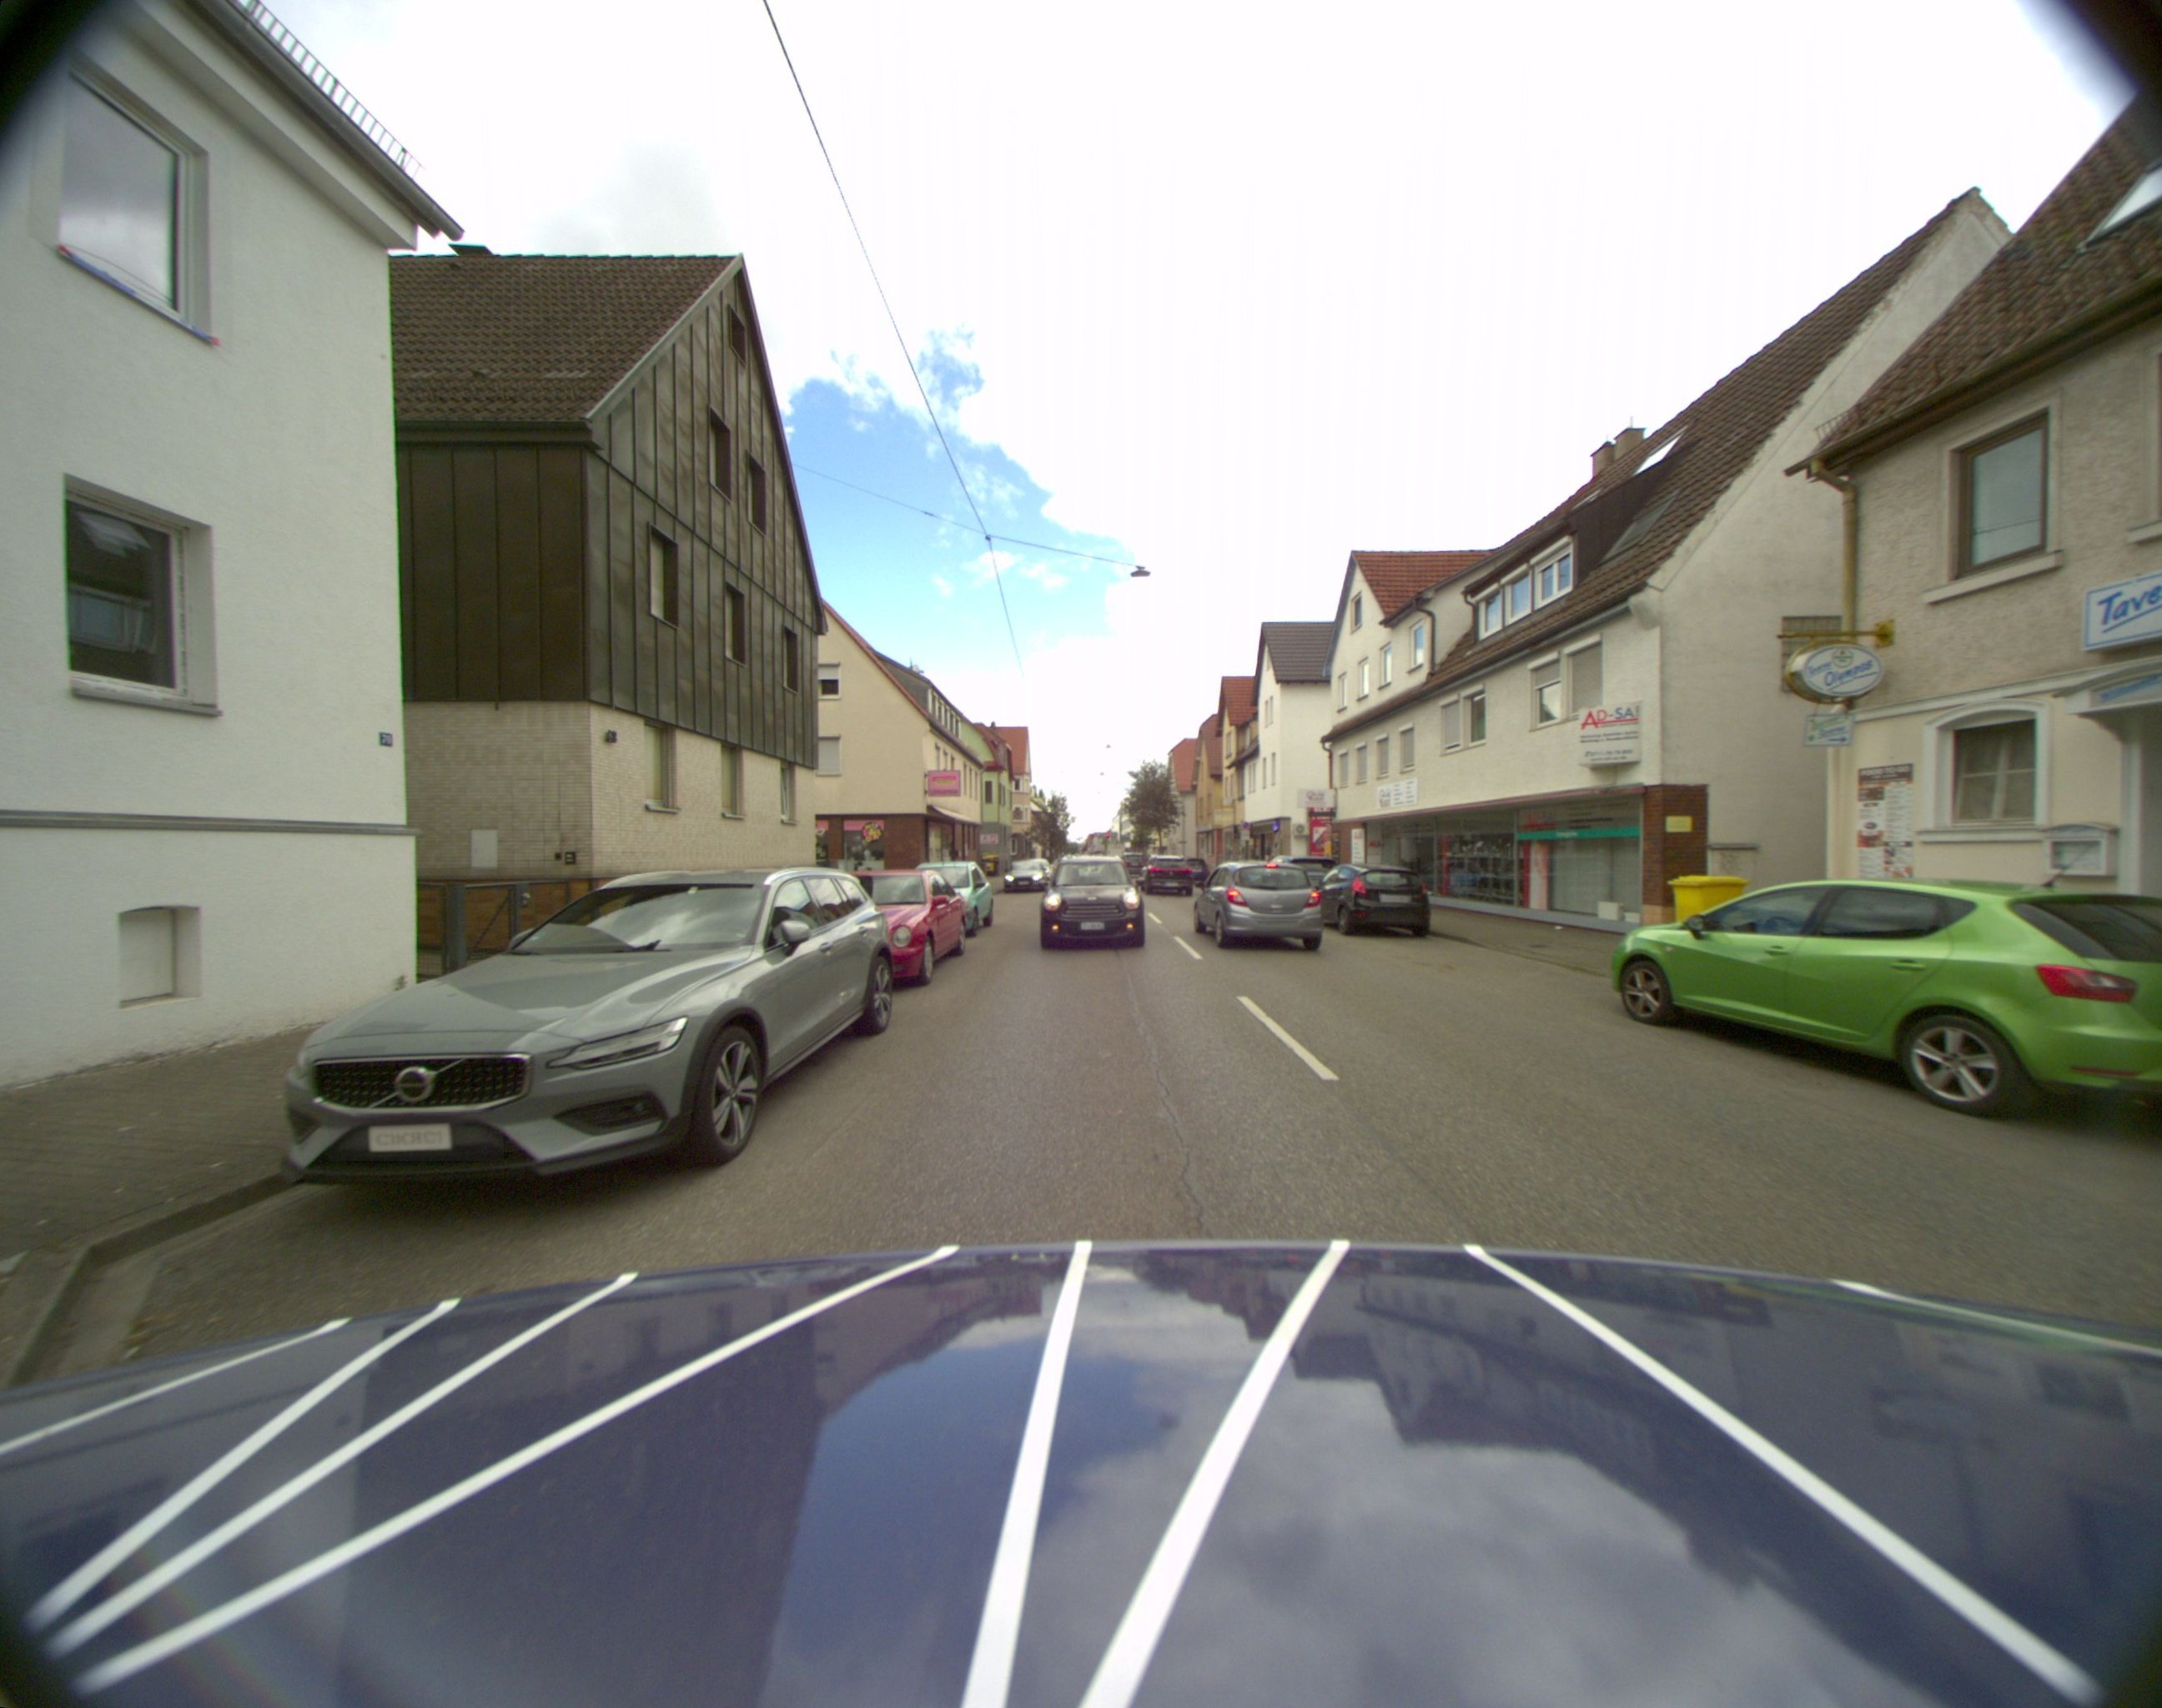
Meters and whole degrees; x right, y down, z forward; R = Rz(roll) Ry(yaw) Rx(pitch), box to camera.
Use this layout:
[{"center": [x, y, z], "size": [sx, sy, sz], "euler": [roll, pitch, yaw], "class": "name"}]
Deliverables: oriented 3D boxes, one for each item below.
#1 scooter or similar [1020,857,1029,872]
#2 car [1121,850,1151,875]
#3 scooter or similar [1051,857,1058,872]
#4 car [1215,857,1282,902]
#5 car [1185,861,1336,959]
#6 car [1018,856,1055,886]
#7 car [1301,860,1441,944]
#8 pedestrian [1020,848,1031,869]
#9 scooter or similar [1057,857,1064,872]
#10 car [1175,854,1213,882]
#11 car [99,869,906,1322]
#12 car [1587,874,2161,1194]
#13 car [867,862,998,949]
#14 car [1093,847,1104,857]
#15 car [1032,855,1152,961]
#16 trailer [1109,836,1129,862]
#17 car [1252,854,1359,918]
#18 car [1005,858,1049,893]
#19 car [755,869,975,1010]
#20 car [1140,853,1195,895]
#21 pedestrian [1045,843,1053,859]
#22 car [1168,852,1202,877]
[{"center": [-4.587, 0.831, 61.723], "size": [0.591, 1.225, 0.891], "euler": [-1, 1, 0], "class": "scooter or similar"}, {"center": [3.881, 0.571, 54.334], "size": [1.905, 1.727, 4.366], "euler": [1, 0, 1], "class": "car"}, {"center": [-2.229, 0.904, 64.173], "size": [0.503, 1.228, 1.942], "euler": [-1, 1, 0], "class": "scooter or similar"}, {"center": [6.101, 0.877, 28.093], "size": [1.686, 1.490, 3.775], "euler": [1, 0, 1], "class": "car"}, {"center": [3.088, 0.899, 13.945], "size": [1.687, 1.439, 4.019], "euler": [1, 0, -2], "class": "car"}, {"center": [-2.337, 0.874, 41.098], "size": [1.836, 1.437, 4.330], "euler": [-2, 0, -2], "class": "car"}, {"center": [6.077, 0.925, 16.406], "size": [1.585, 1.499, 3.812], "euler": [2, 1, 1], "class": "car"}, {"center": [-4.571, 0.401, 62.657], "size": [0.752, 1.710, 0.900], "euler": [-1, 1, 1], "class": "pedestrian"}, {"center": [-1.694, 0.855, 64.179], "size": [0.503, 1.228, 1.942], "euler": [-1, 1, 0], "class": "scooter or similar"}, {"center": [6.374, 0.780, 43.220], "size": [1.686, 1.484, 3.591], "euler": [1, 0, 1], "class": "car"}, {"center": [-2.660, 0.948, 5.078], "size": [1.880, 1.530, 4.512], "euler": [-1, 0, 0], "class": "car"}, {"center": [6.046, 0.949, 5.735], "size": [1.687, 1.439, 4.019], "euler": [1, 0, -1], "class": "car"}, {"center": [-2.966, 0.980, 16.026], "size": [1.835, 1.489, 3.993], "euler": [-2, 0, 1], "class": "car"}, {"center": [3.303, -0.365, 145.007], "size": [1.998, 1.785, 4.277], "euler": [1, 0, 0], "class": "car"}, {"center": [0.188, 0.857, 14.309], "size": [1.847, 1.571, 4.428], "euler": [-3, 0, 0], "class": "car"}, {"center": [4.869, -0.665, 97.663], "size": [2.509, 3.201, 7.135], "euler": [-1, 1, 3], "class": "trailer"}, {"center": [6.265, 0.812, 21.700], "size": [1.807, 1.590, 4.304], "euler": [1, 0, 1], "class": "car"}, {"center": [-2.413, 0.935, 34.680], "size": [1.836, 1.437, 4.108], "euler": [-2, 0, -3], "class": "car"}, {"center": [-2.736, 1.006, 10.766], "size": [1.759, 1.437, 4.454], "euler": [-2, 0, 1], "class": "car"}, {"center": [3.483, 0.760, 31.168], "size": [1.799, 1.569, 4.192], "euler": [1, 0, 1], "class": "car"}, {"center": [-4.211, -0.379, 100.638], "size": [0.826, 2.062, 1.011], "euler": [3, 1, 3], "class": "pedestrian"}, {"center": [6.766, 0.645, 49.677], "size": [1.714, 1.557, 4.113], "euler": [1, 0, 1], "class": "car"}]
